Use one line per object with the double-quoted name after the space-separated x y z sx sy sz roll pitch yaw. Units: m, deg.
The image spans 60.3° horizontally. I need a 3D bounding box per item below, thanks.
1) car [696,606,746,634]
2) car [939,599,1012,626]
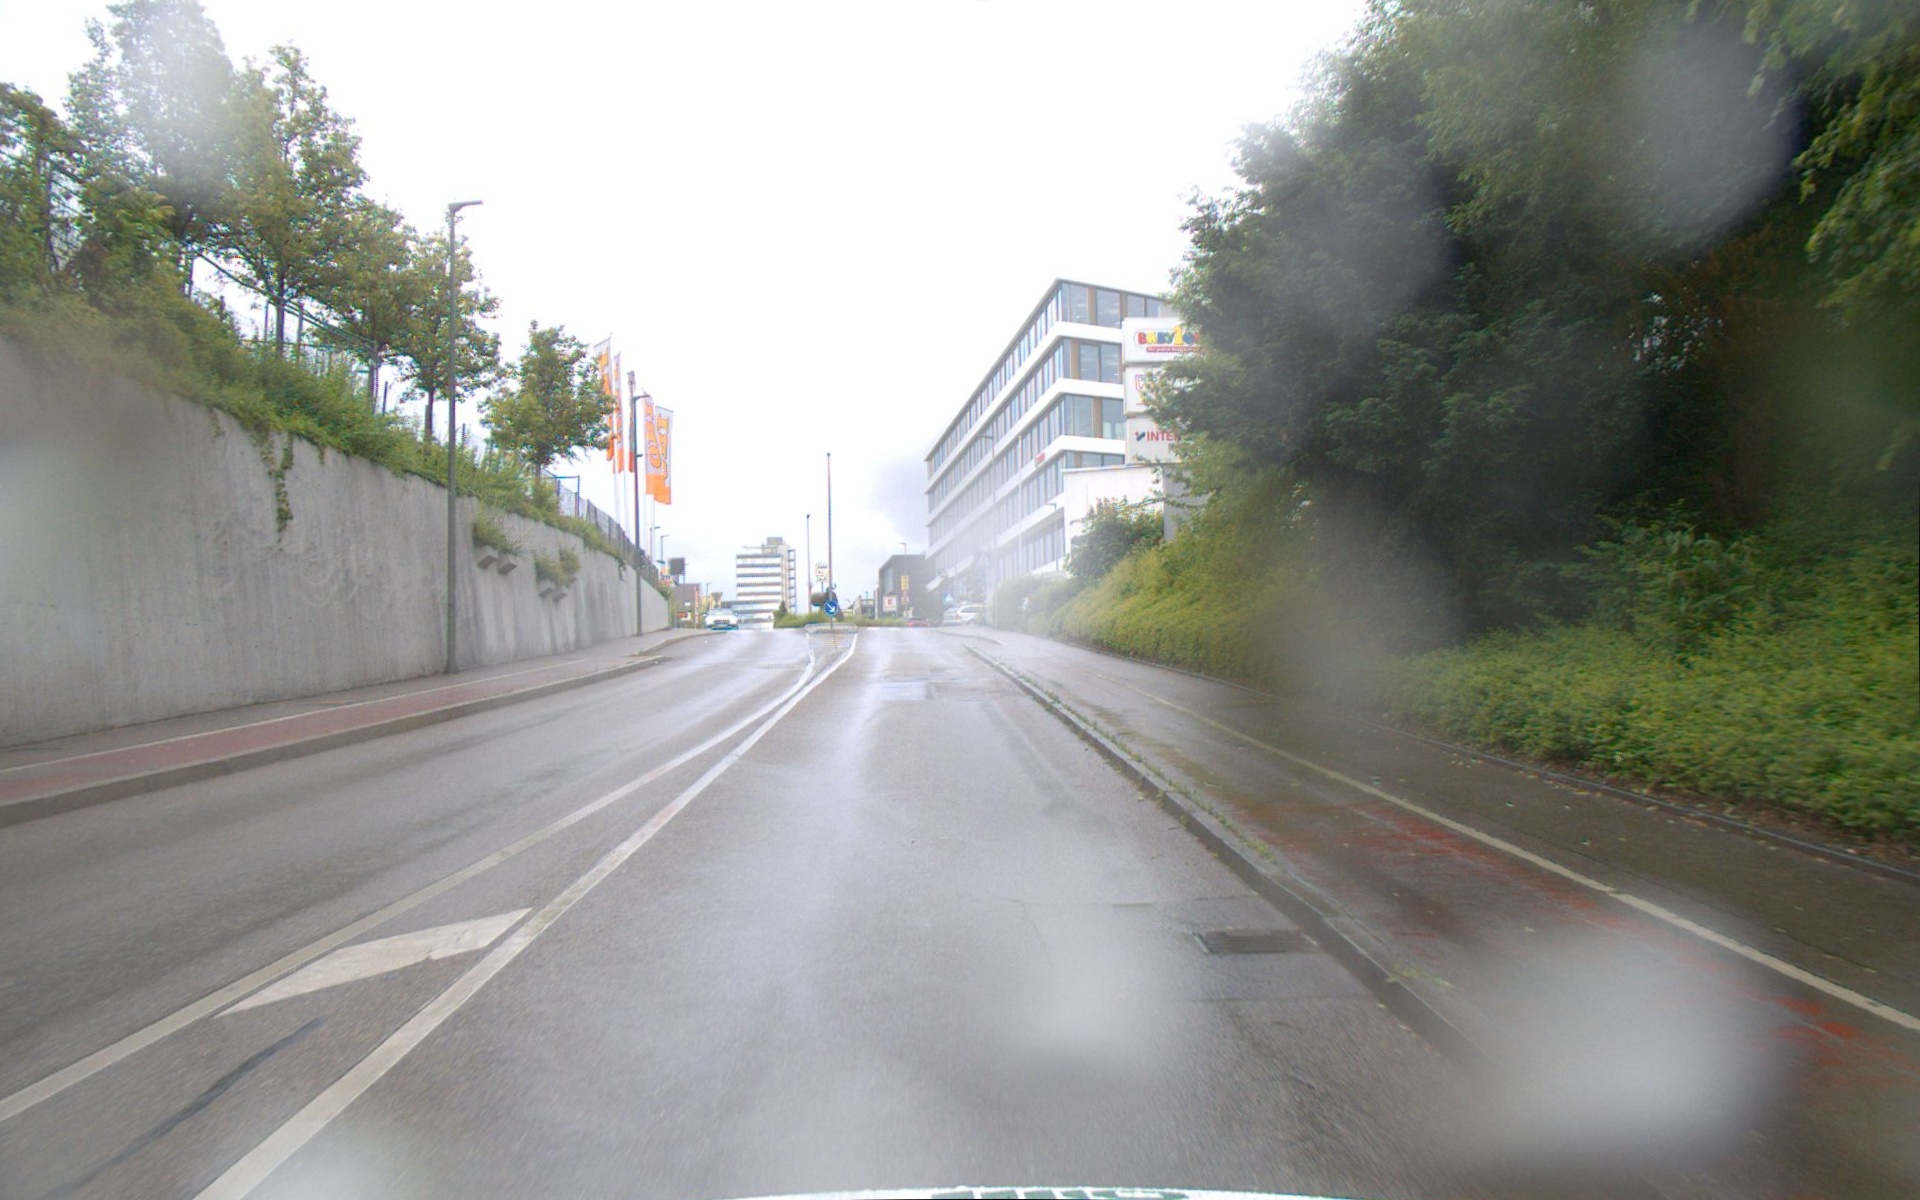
-13.560 1.090 93.622 1.971 1.451 4.756 -2 1 -18 "car"
0.876 0.685 92.595 1.618 1.386 4.220 -1 0 44 "car"
